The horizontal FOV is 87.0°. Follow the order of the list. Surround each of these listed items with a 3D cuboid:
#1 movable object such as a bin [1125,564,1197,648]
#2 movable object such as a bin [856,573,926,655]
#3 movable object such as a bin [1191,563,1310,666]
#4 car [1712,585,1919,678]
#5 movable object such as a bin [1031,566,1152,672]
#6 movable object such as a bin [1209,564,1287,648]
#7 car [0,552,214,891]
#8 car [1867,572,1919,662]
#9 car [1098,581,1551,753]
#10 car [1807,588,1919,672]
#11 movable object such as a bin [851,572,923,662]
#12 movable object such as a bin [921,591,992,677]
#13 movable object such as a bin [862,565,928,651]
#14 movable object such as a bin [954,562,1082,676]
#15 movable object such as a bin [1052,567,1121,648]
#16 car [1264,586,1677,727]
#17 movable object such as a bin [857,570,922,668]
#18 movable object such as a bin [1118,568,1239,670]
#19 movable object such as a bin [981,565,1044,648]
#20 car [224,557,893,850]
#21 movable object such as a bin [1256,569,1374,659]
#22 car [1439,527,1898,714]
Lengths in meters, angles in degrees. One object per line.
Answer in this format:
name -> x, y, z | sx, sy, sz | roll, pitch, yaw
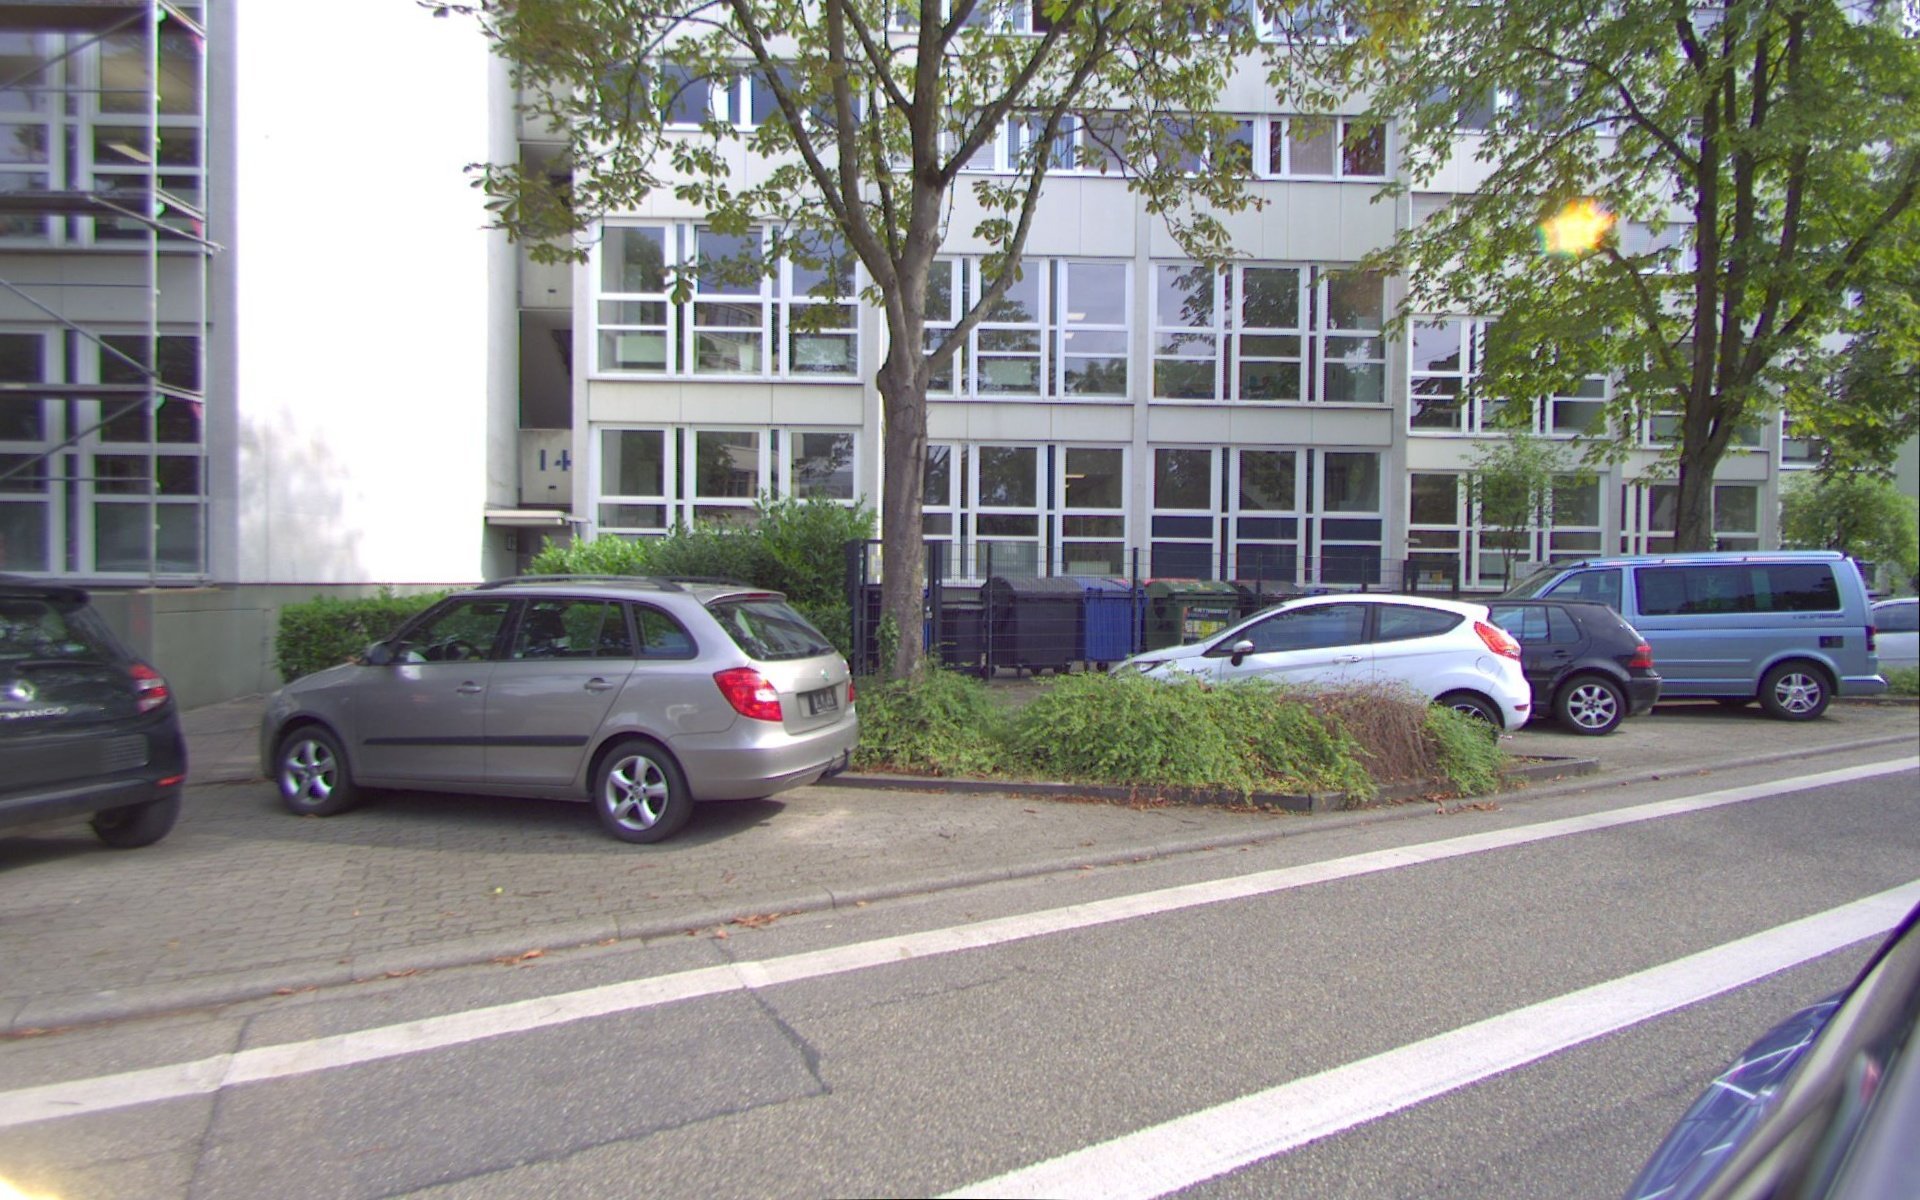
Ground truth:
movable object such as a bin -> 3.917, 0.099, 19.841 | 1.152, 1.587, 1.180 | 0, 1, -1
movable object such as a bin -> -1.234, 0.221, 17.840 | 1.156, 1.387, 1.177 | 0, 1, -8
movable object such as a bin -> 4.755, 0.206, 16.646 | 1.326, 1.616, 1.338 | 0, 1, -25
car -> 14.400, 0.463, 16.007 | 3.594, 1.346, 1.759 | 0, 2, 16
movable object such as a bin -> 1.986, 0.260, 15.439 | 1.310, 1.522, 1.338 | 0, 1, -25
movable object such as a bin -> 5.617, 0.091, 19.807 | 1.152, 1.587, 1.180 | 0, 1, -1
car -> -5.949, 0.530, 5.365 | 3.372, 1.556, 1.586 | 1, 1, 18
car -> 19.709, 0.313, 18.854 | 3.723, 1.638, 1.803 | 1, 2, 20
car -> 3.341, 0.544, 9.832 | 3.806, 1.410, 1.627 | 1, 1, 15
car -> 17.250, 0.506, 17.357 | 3.723, 1.355, 1.803 | 1, 2, 20
movable object such as a bin -> -1.209, 0.253, 16.503 | 1.096, 1.409, 1.065 | 0, 1, -8
movable object such as a bin -> -0.056, 0.437, 13.805 | 0.727, 1.119, 0.788 | 0, 1, -23
movable object such as a bin -> -1.246, 0.136, 19.214 | 1.156, 1.587, 1.177 | 0, 1, -8
movable object such as a bin -> 0.816, 0.242, 14.629 | 1.386, 1.548, 1.333 | 0, 1, -25
movable object such as a bin -> 2.447, 0.123, 19.734 | 1.152, 1.533, 1.180 | 0, 1, -1
car -> 5.557, 0.562, 11.584 | 3.916, 1.405, 1.805 | 0, 0, 16
movable object such as a bin -> -1.080, 0.267, 15.256 | 0.893, 1.424, 1.026 | 0, 1, -8
movable object such as a bin -> 3.439, 0.268, 16.041 | 1.326, 1.521, 1.338 | 0, 1, -25
movable object such as a bin -> 1.010, 0.111, 19.876 | 1.152, 1.587, 1.180 | 0, 1, -1
car -> -2.581, 0.519, 6.692 | 3.995, 1.557, 1.588 | 0, 1, 16
movable object such as a bin -> 6.082, 0.205, 17.391 | 1.371, 1.476, 1.338 | 0, 1, -25
car -> 8.637, 0.176, 12.843 | 4.284, 2.089, 1.991 | 1, 1, 16
